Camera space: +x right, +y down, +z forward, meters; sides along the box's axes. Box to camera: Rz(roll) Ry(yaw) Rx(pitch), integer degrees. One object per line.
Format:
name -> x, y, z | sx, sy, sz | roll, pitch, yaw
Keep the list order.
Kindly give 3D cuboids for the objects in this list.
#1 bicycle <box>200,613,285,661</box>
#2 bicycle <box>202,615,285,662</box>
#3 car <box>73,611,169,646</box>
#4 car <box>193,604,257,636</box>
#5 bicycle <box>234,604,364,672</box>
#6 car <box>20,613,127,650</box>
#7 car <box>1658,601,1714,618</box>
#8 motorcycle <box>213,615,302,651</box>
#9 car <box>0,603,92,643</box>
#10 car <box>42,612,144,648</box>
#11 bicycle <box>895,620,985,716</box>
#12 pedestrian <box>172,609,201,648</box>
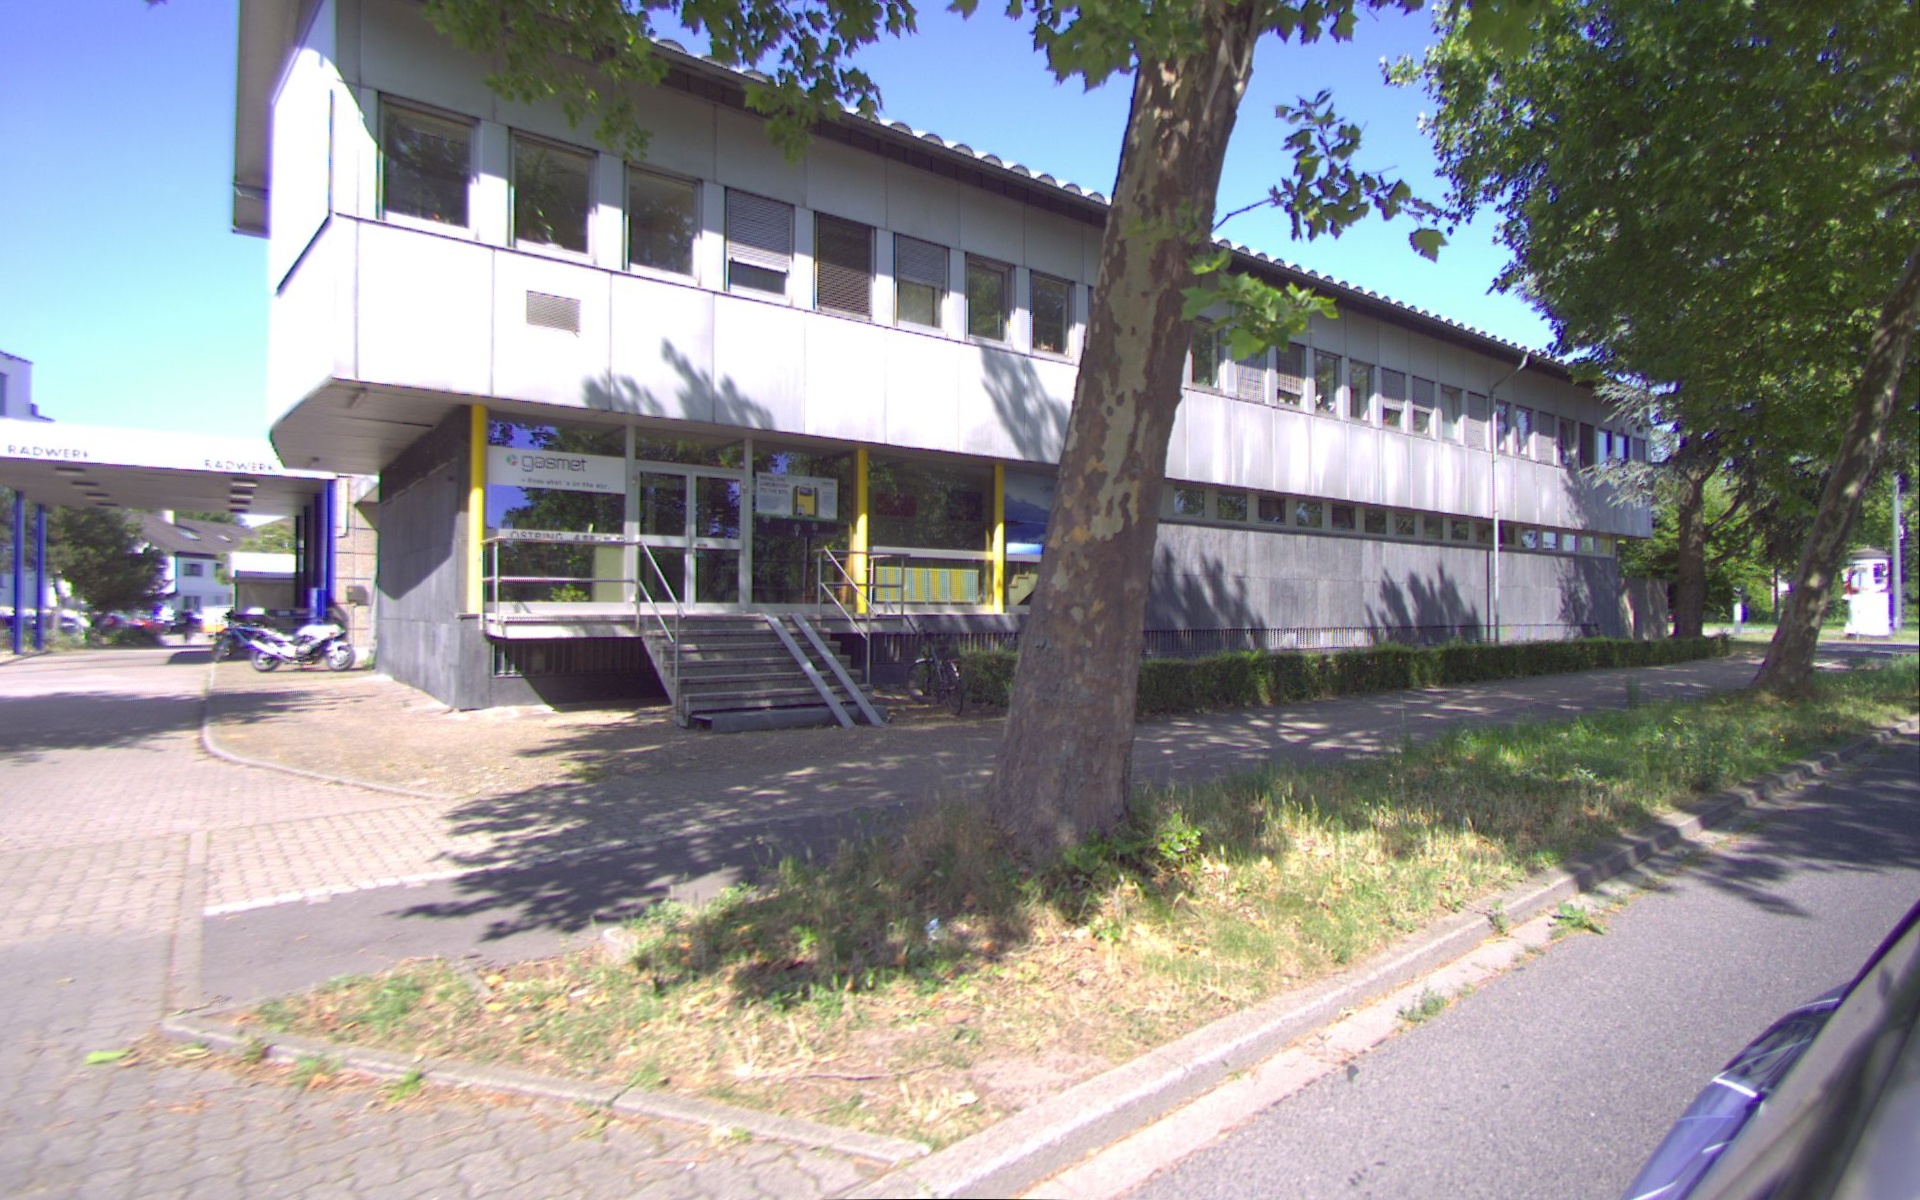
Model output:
bicycle -> -18.127, 0.922, 25.617 | 1.698, 1.163, 0.811 | 0, 0, -33
bicycle -> -18.642, 0.983, 26.378 | 1.698, 1.163, 0.811 | 0, 0, -33
car -> -54.315, 1.861, 65.619 | 4.305, 1.986, 1.861 | 4, -2, -16
car -> -44.587, 1.226, 61.470 | 1.657, 1.906, 3.715 | 0, -2, -10
bicycle -> -13.950, 0.782, 21.425 | 2.133, 1.368, 0.823 | -1, 0, -16
car -> -52.897, 1.869, 60.487 | 4.305, 1.986, 1.861 | 4, -2, -16
car -> 67.606, 0.884, 94.264 | 4.263, 1.509, 2.004 | 0, 0, -15
motorcycle -> -22.106, 1.025, 31.893 | 2.186, 1.057, 0.856 | 0, 0, -27
car -> -51.715, 1.256, 56.609 | 4.305, 1.986, 1.861 | 4, -2, -16
car -> -53.857, 1.849, 62.959 | 4.305, 1.986, 1.861 | 4, -2, -16
bicycle -> -0.300, 0.872, 13.623 | 0.498, 1.144, 1.678 | 0, 1, -28
pedestrian -> -33.611, 1.226, 43.991 | 0.943, 1.623, 0.868 | 0, -1, -35
